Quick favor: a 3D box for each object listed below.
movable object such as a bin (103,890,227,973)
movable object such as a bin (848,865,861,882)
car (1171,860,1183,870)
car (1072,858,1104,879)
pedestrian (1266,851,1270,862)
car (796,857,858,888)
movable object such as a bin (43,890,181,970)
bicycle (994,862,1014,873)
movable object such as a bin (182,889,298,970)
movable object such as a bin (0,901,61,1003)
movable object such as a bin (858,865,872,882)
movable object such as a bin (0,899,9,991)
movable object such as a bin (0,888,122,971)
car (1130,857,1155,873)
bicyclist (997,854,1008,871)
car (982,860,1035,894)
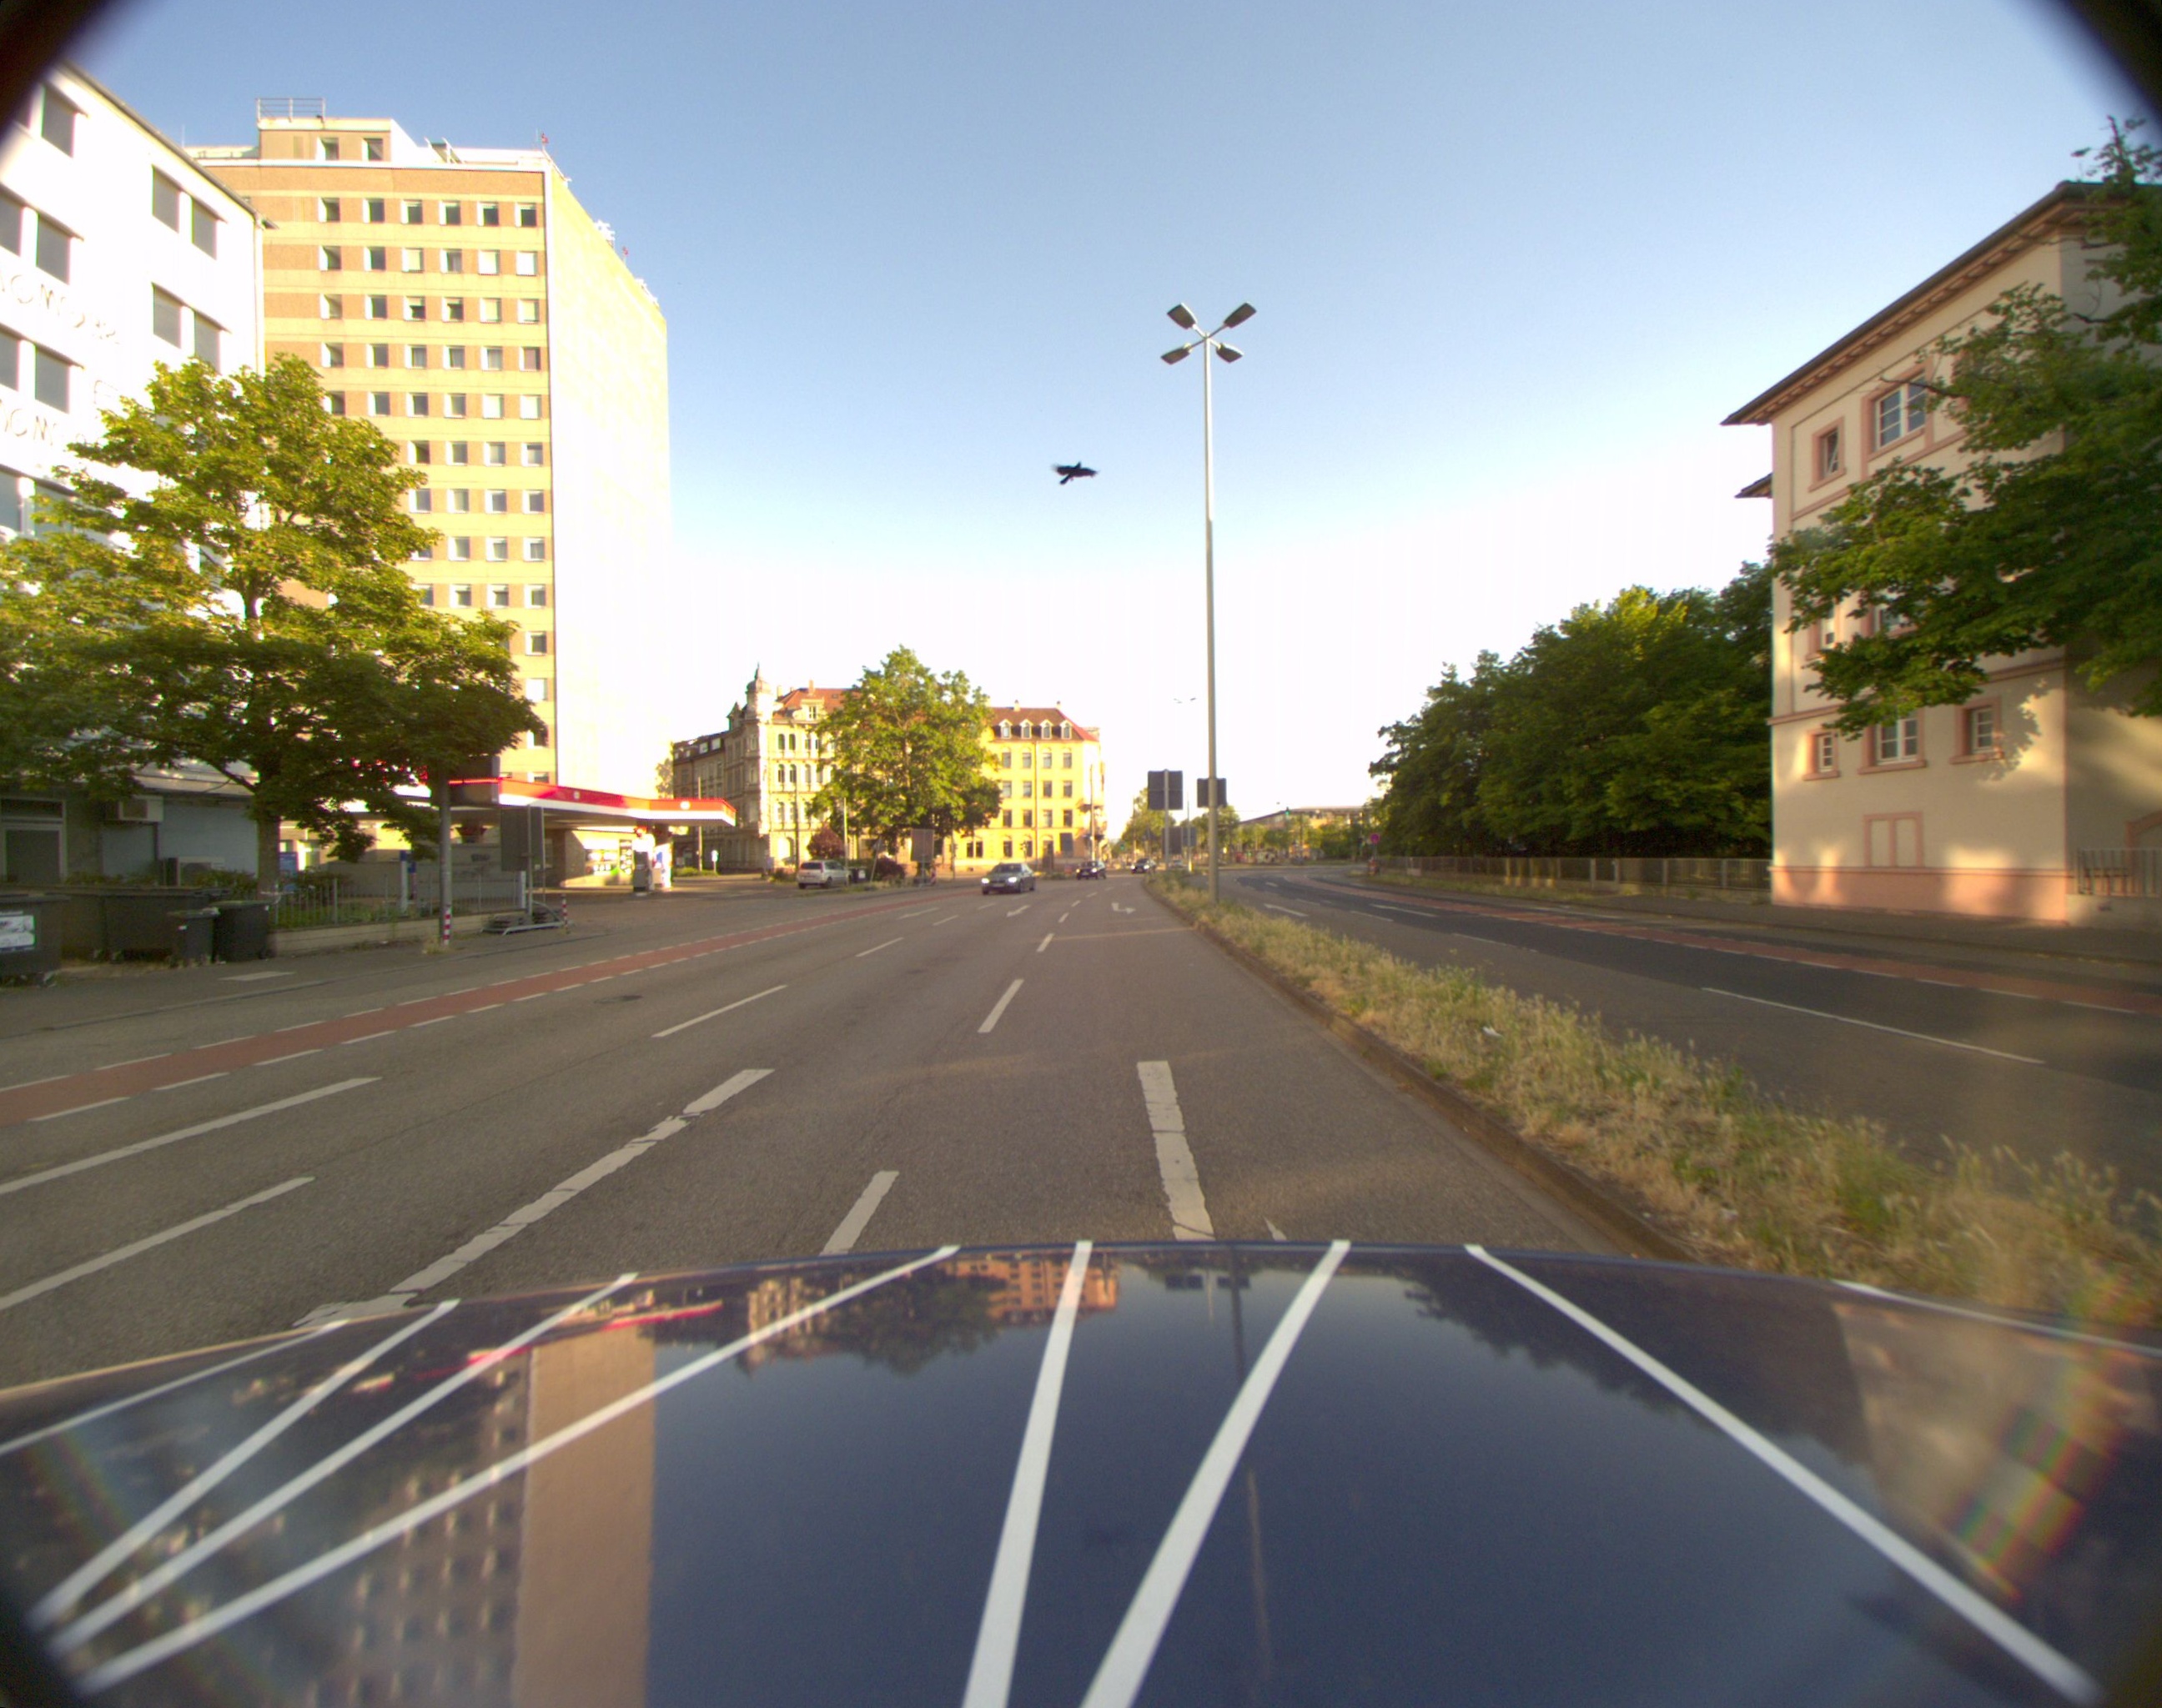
[{"bbox_3d":[-15.855,1.323,13.191,0.956,1.320,0.954,-1,1,-2],"label":"movable object such as a bin"},{"bbox_3d":[-13.756,1.167,46.100,0.544,1.013,0.688,-1,1,6],"label":"movable object such as a bin"},{"bbox_3d":[15.299,1.747,120.998,1.673,1.410,4.443,-2,0,9],"label":"car"},{"bbox_3d":[0.570,1.066,57.233,1.583,1.440,3.876,-2,0,13],"label":"car"},{"bbox_3d":[34.329,0.398,139.516,0.556,2.002,0.664,-1,1,1],"label":"pedestrian"},{"bbox_3d":[-13.856,0.980,41.611,1.688,1.508,3.798,-1,1,8],"label":"car"},{"bbox_3d":[-16.916,1.293,13.304,0.956,1.276,1.098,-1,1,-2],"label":"movable object such as a bin"},{"bbox_3d":[-7.540,1.289,74.050,1.927,1.053,0.451,-1,1,-7],"label":"bicycle"},{"bbox_3d":[-14.881,1.310,13.472,0.956,1.320,0.954,-1,1,-2],"label":"movable object such as a bin"},{"bbox_3d":[-14.943,1.341,10.176,0.956,1.320,1.162,-1,1,-2],"label":"movable object such as a bin"},{"bbox_3d":[-13.036,1.152,45.887,0.544,1.013,0.688,-1,1,6],"label":"movable object such as a bin"},{"bbox_3d":[-16.050,1.322,10.435,0.956,1.320,1.162,-1,1,-2],"label":"movable object such as a bin"},{"bbox_3d":[-17.931,1.293,13.263,0.956,1.320,1.098,-1,1,-2],"label":"movable object such as a bin"},{"bbox_3d":[5.928,1.047,73.086,1.729,1.440,4.050,-2,0,14],"label":"car"},{"bbox_3d":[-7.686,0.836,74.170,1.065,1.639,0.732,-1,1,-6],"label":"bicyclist"},{"bbox_3d":[-3.442,1.073,37.017,1.819,1.440,4.668,-2,0,4],"label":"car"}]
